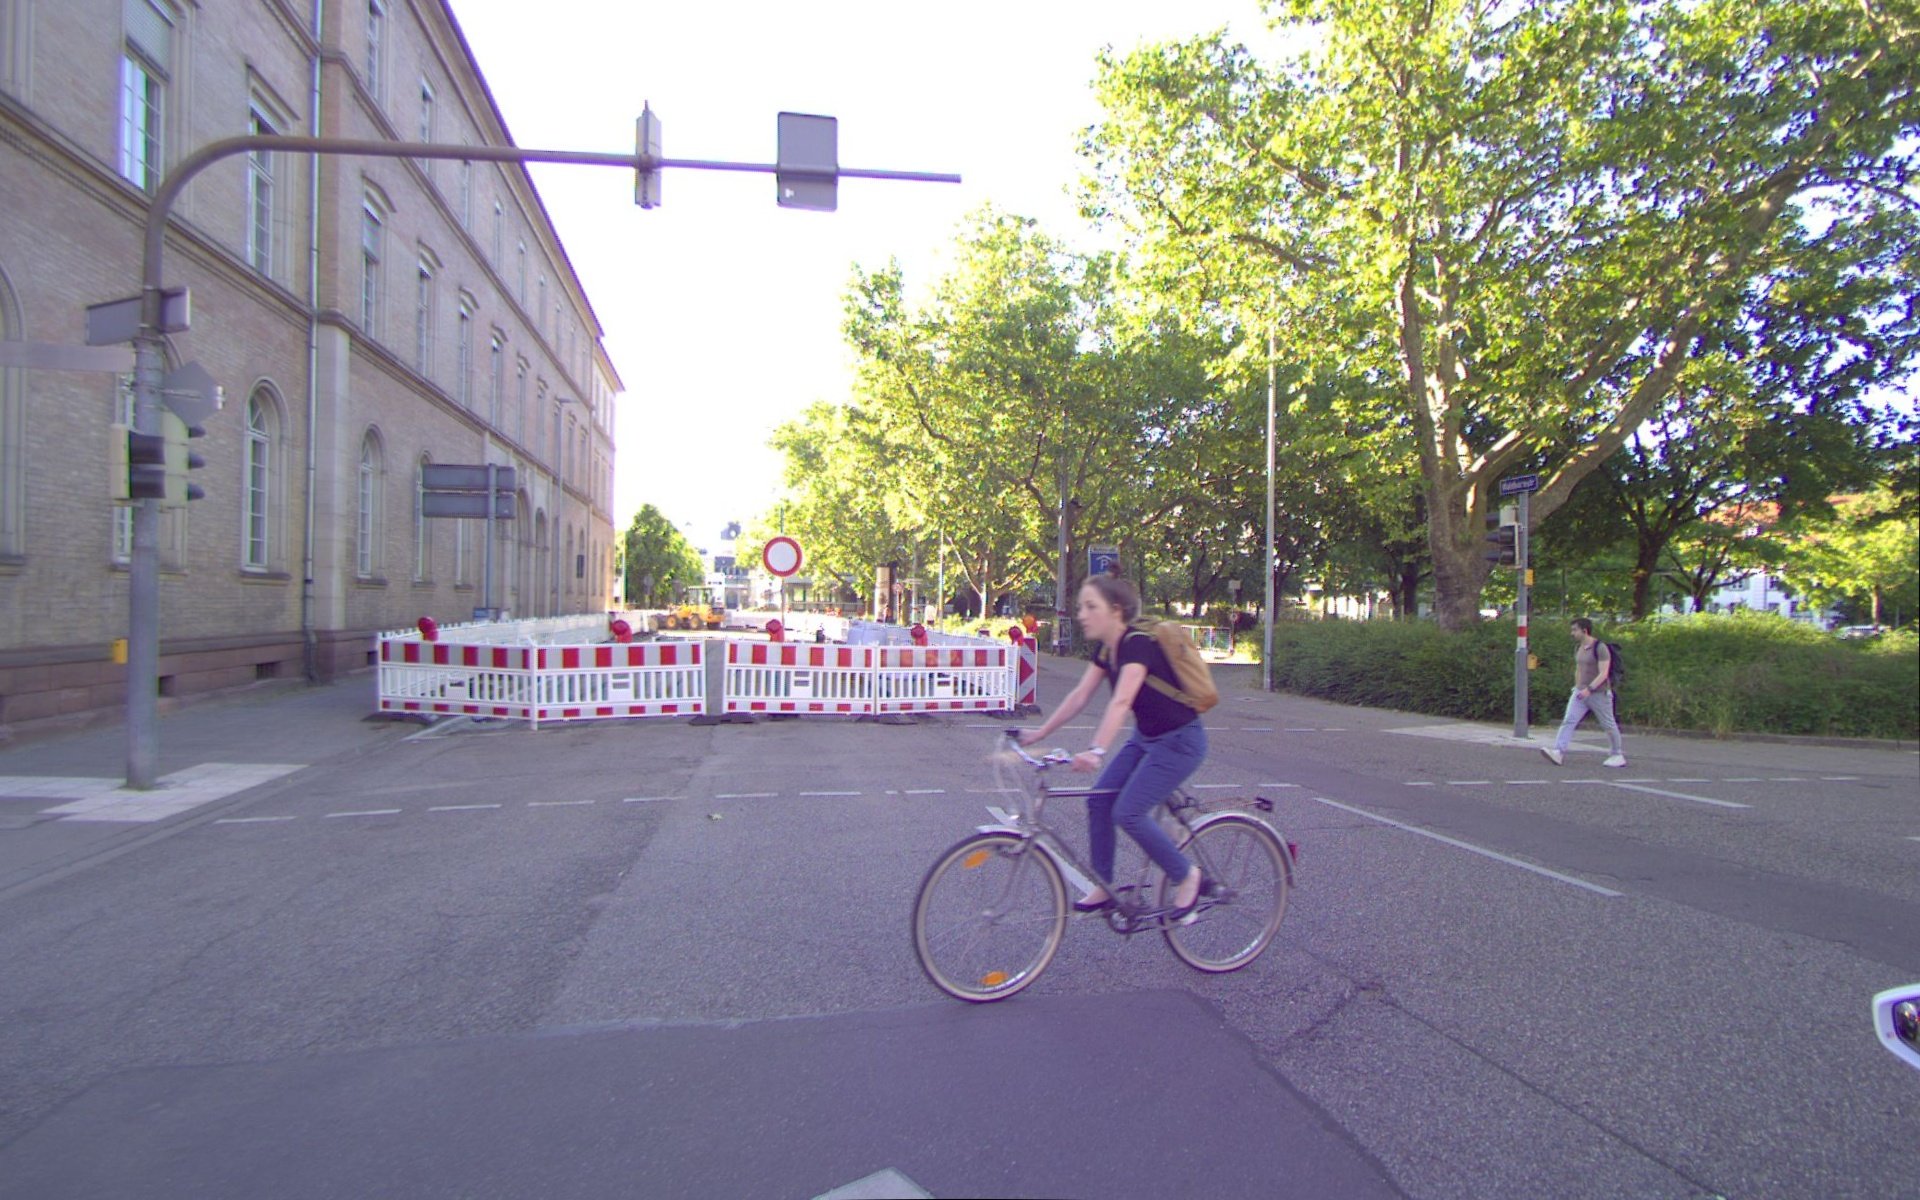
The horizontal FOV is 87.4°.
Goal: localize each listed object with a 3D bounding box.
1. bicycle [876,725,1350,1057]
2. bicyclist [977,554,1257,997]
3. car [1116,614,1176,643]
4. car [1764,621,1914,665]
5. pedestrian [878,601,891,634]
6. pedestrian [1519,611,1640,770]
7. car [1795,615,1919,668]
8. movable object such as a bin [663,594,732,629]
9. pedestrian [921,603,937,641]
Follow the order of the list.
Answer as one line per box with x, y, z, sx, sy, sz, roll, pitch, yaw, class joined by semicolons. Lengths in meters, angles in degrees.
0.631;1.049;3.999;1.815;0.982;0.614;1;0;-24;bicycle
0.611;0.623;3.983;0.891;1.553;0.614;1;0;-24;bicyclist
11.928;1.805;64.645;2.040;1.753;4.556;2;-1;-15;car
38.114;1.824;43.701;2.040;1.753;4.556;2;-1;-15;car
-4.716;1.103;63.092;0.599;2.040;0.823;1;0;-19;pedestrian
7.055;1.011;11.459;0.937;1.745;0.704;1;-1;-8;pedestrian
32.433;1.420;35.214;2.040;1.753;4.556;2;-1;-15;car
-16.798;0.740;64.300;3.925;2.220;1.940;0;0;26;movable object such as a bin
-1.671;1.176;54.502;0.637;2.040;0.823;1;0;-19;pedestrian
